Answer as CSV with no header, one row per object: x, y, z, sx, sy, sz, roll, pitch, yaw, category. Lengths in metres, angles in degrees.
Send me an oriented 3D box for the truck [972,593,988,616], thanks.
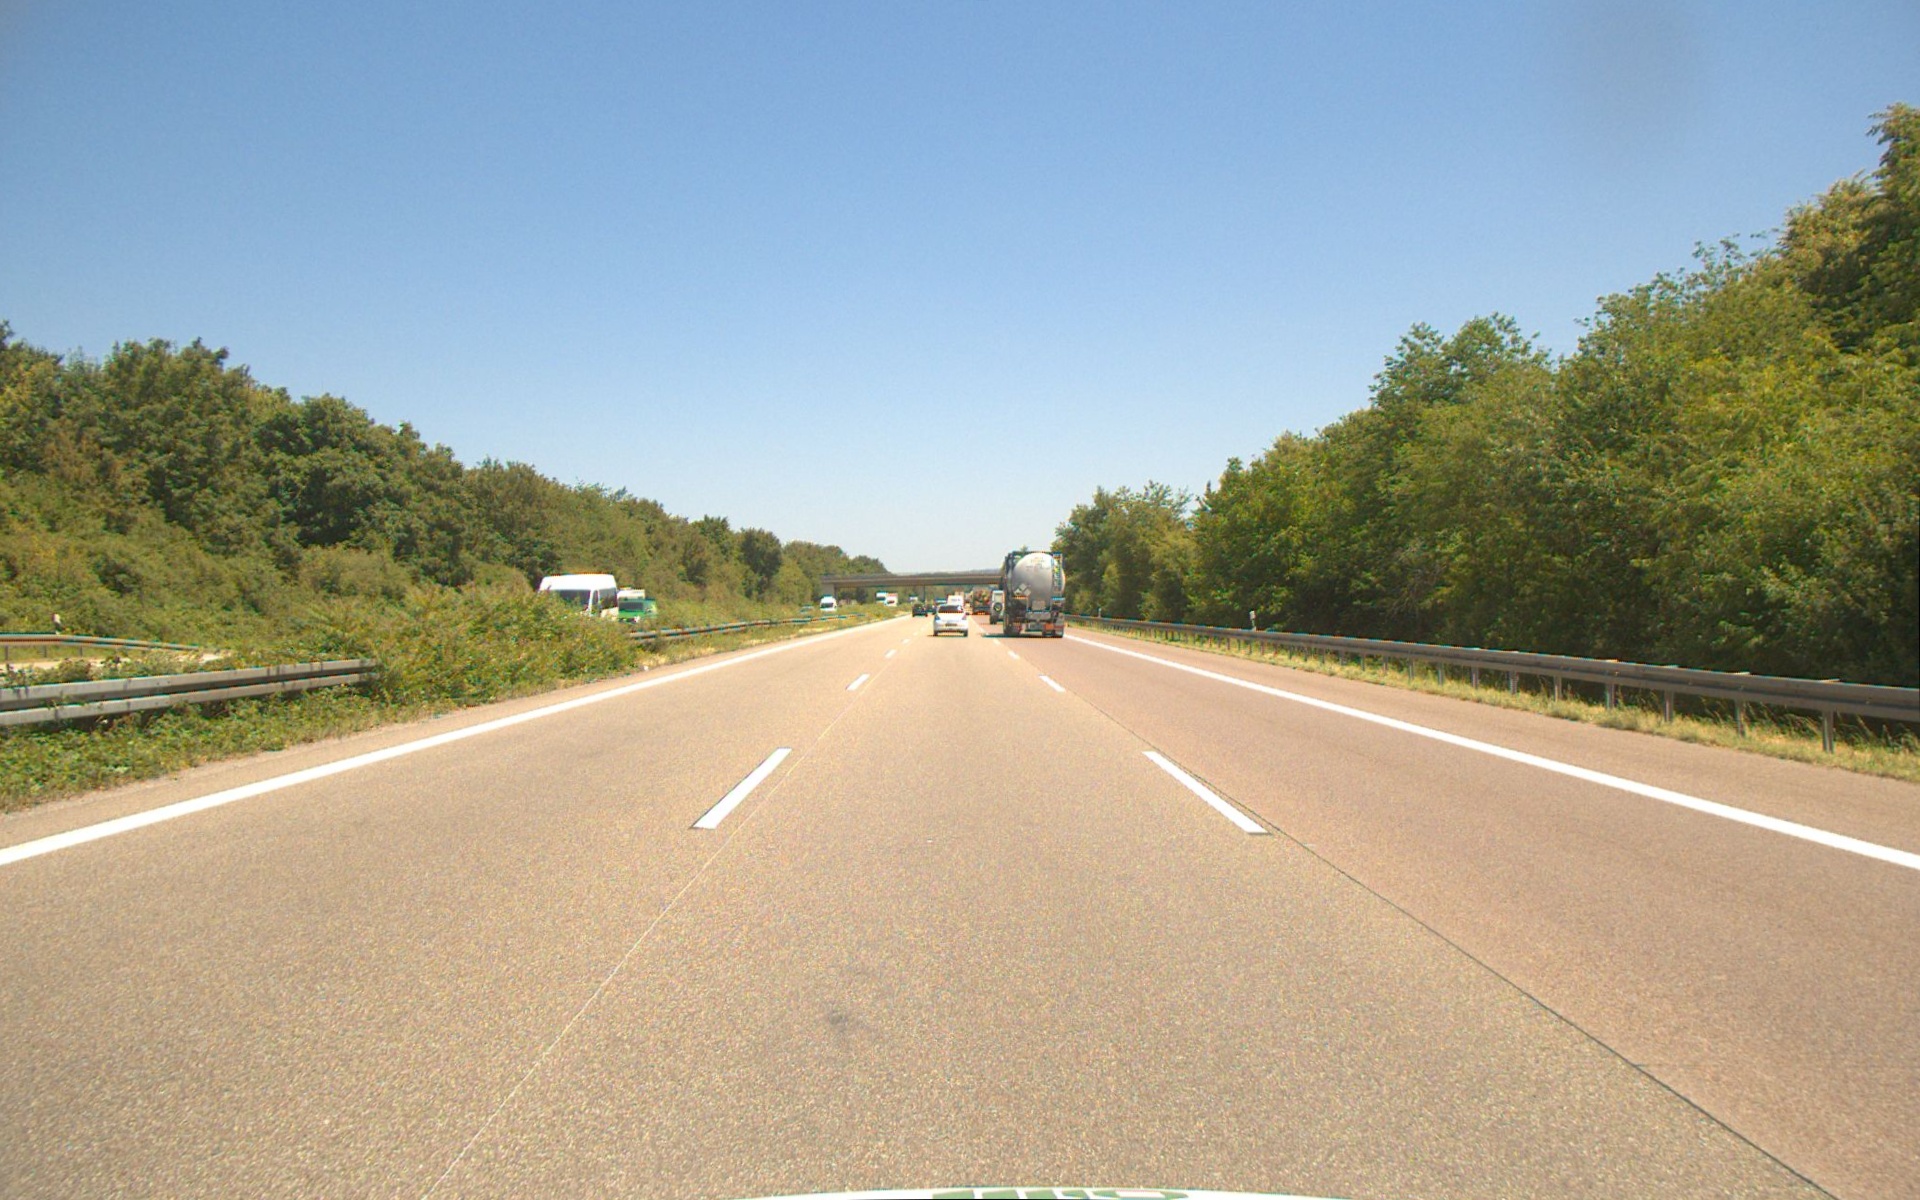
2.985,0.680,244.217,2.243,3.297,6.343,1,-1,-1,truck

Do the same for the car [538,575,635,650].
-12.884,0.422,57.492,1.953,2.442,6.165,0,0,0,car

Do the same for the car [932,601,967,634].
-0.516,0.827,79.671,1.594,1.505,3.999,0,0,-1,car

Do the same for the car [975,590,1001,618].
2.234,0.326,133.174,1.953,2.264,4.785,0,0,-1,car

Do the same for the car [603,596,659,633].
-17.480,0.755,88.155,1.953,1.911,5.458,0,0,-1,car

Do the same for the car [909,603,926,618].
-5.015,1.253,197.667,1.953,1.756,4.785,0,0,-1,car

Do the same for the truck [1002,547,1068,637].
3.576,-0.364,81.271,2.683,4.123,10.453,0,0,-1,truck

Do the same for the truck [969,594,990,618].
2.730,0.846,233.743,2.855,3.297,6.343,1,-1,-1,truck

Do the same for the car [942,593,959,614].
-1.135,0.407,195.486,1.952,2.384,4.387,0,0,1,car

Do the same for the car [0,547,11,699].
-16.761,0.385,24.183,2.170,2.484,6.418,0,0,-1,car
